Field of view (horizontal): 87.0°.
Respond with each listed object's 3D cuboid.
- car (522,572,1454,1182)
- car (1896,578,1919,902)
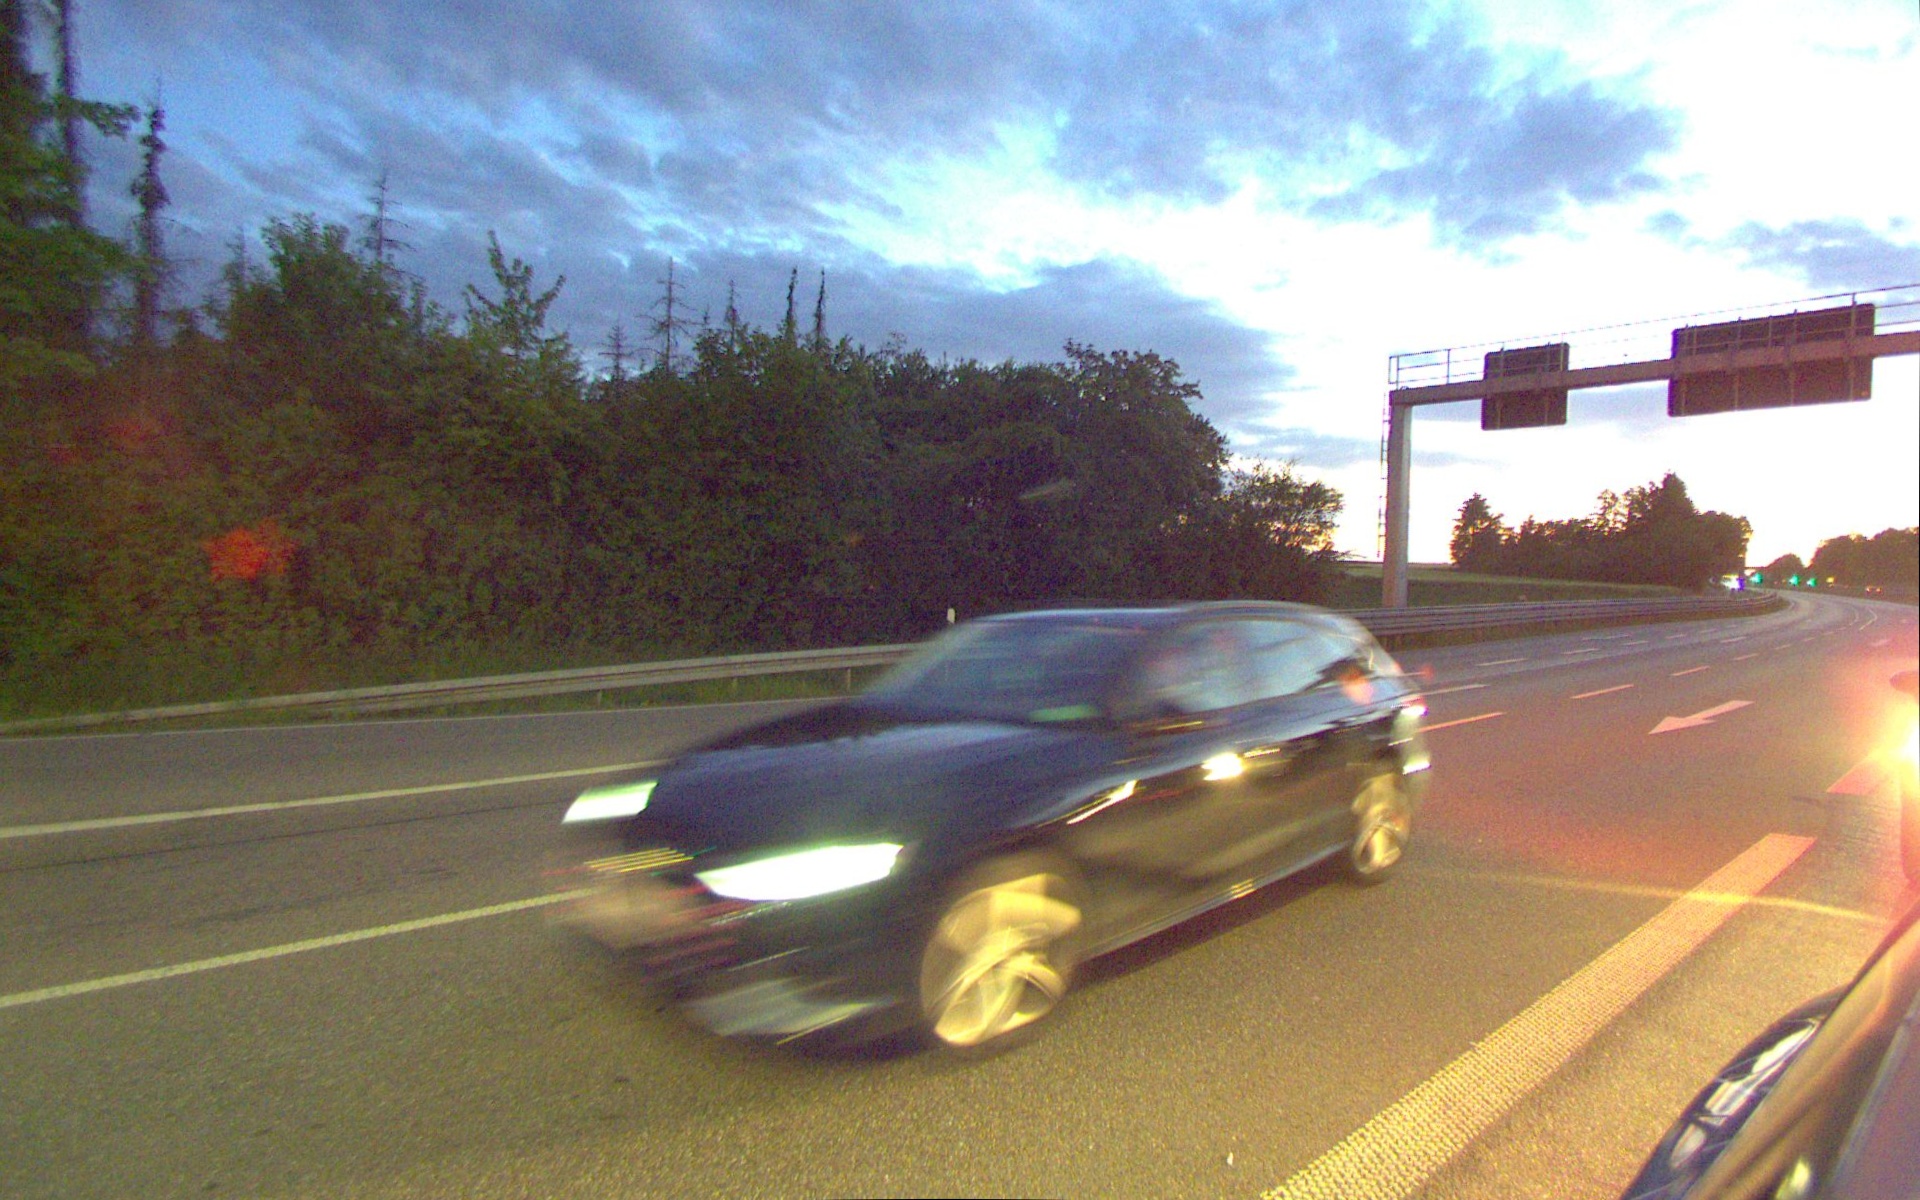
[{"bbox_3d":[0.580,0.653,4.674,1.790,1.462,4.462,0,0,44],"label":"car"},{"bbox_3d":[6.359,0.649,5.245,3.707,1.499,1.670,0,1,-38],"label":"car"}]
